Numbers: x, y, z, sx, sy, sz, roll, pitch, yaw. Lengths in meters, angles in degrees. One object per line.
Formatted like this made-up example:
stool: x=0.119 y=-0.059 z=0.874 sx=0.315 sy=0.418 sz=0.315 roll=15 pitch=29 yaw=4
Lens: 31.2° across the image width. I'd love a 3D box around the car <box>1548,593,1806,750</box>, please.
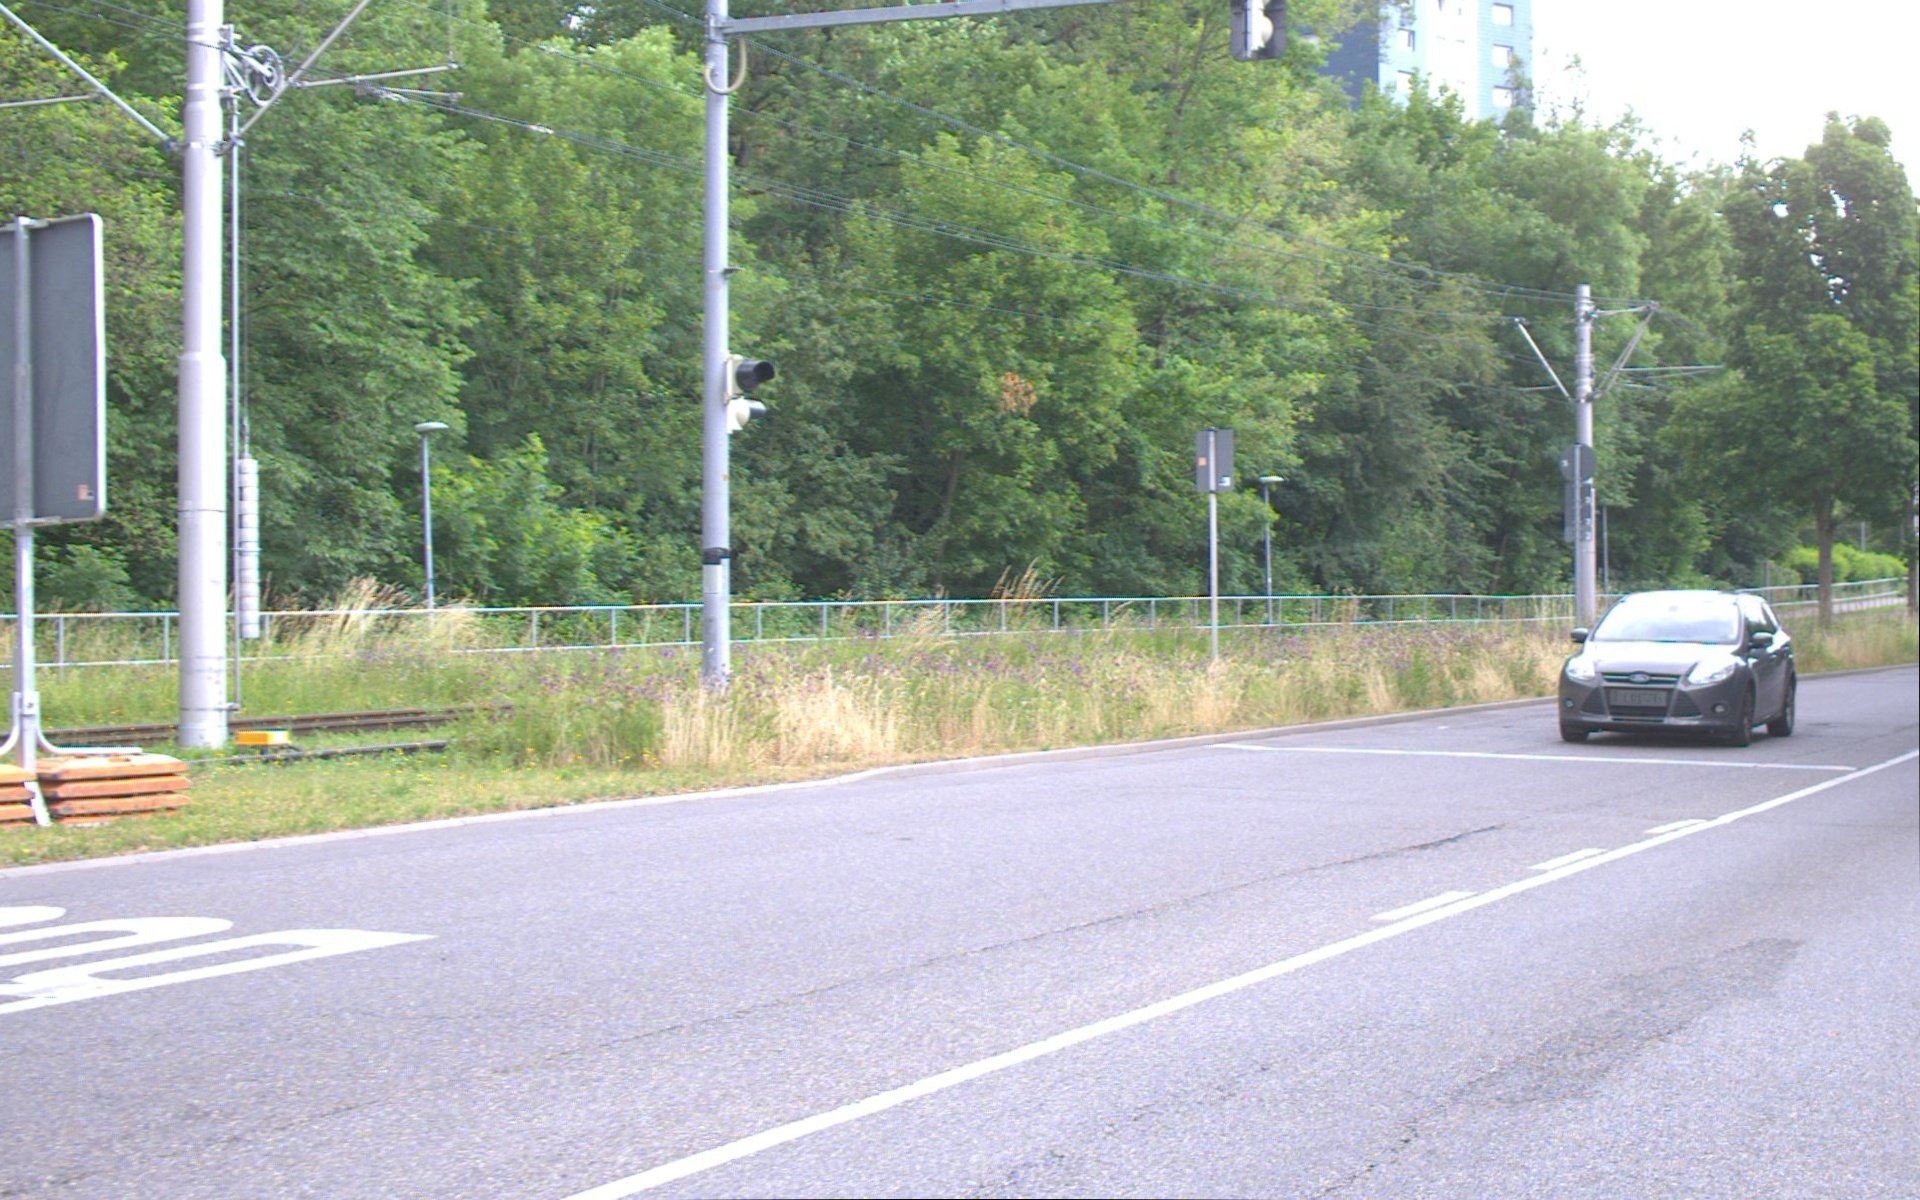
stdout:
car: x=7.145 y=0.654 z=33.951 sx=1.757 sy=1.430 sz=4.423 roll=0 pitch=0 yaw=22
